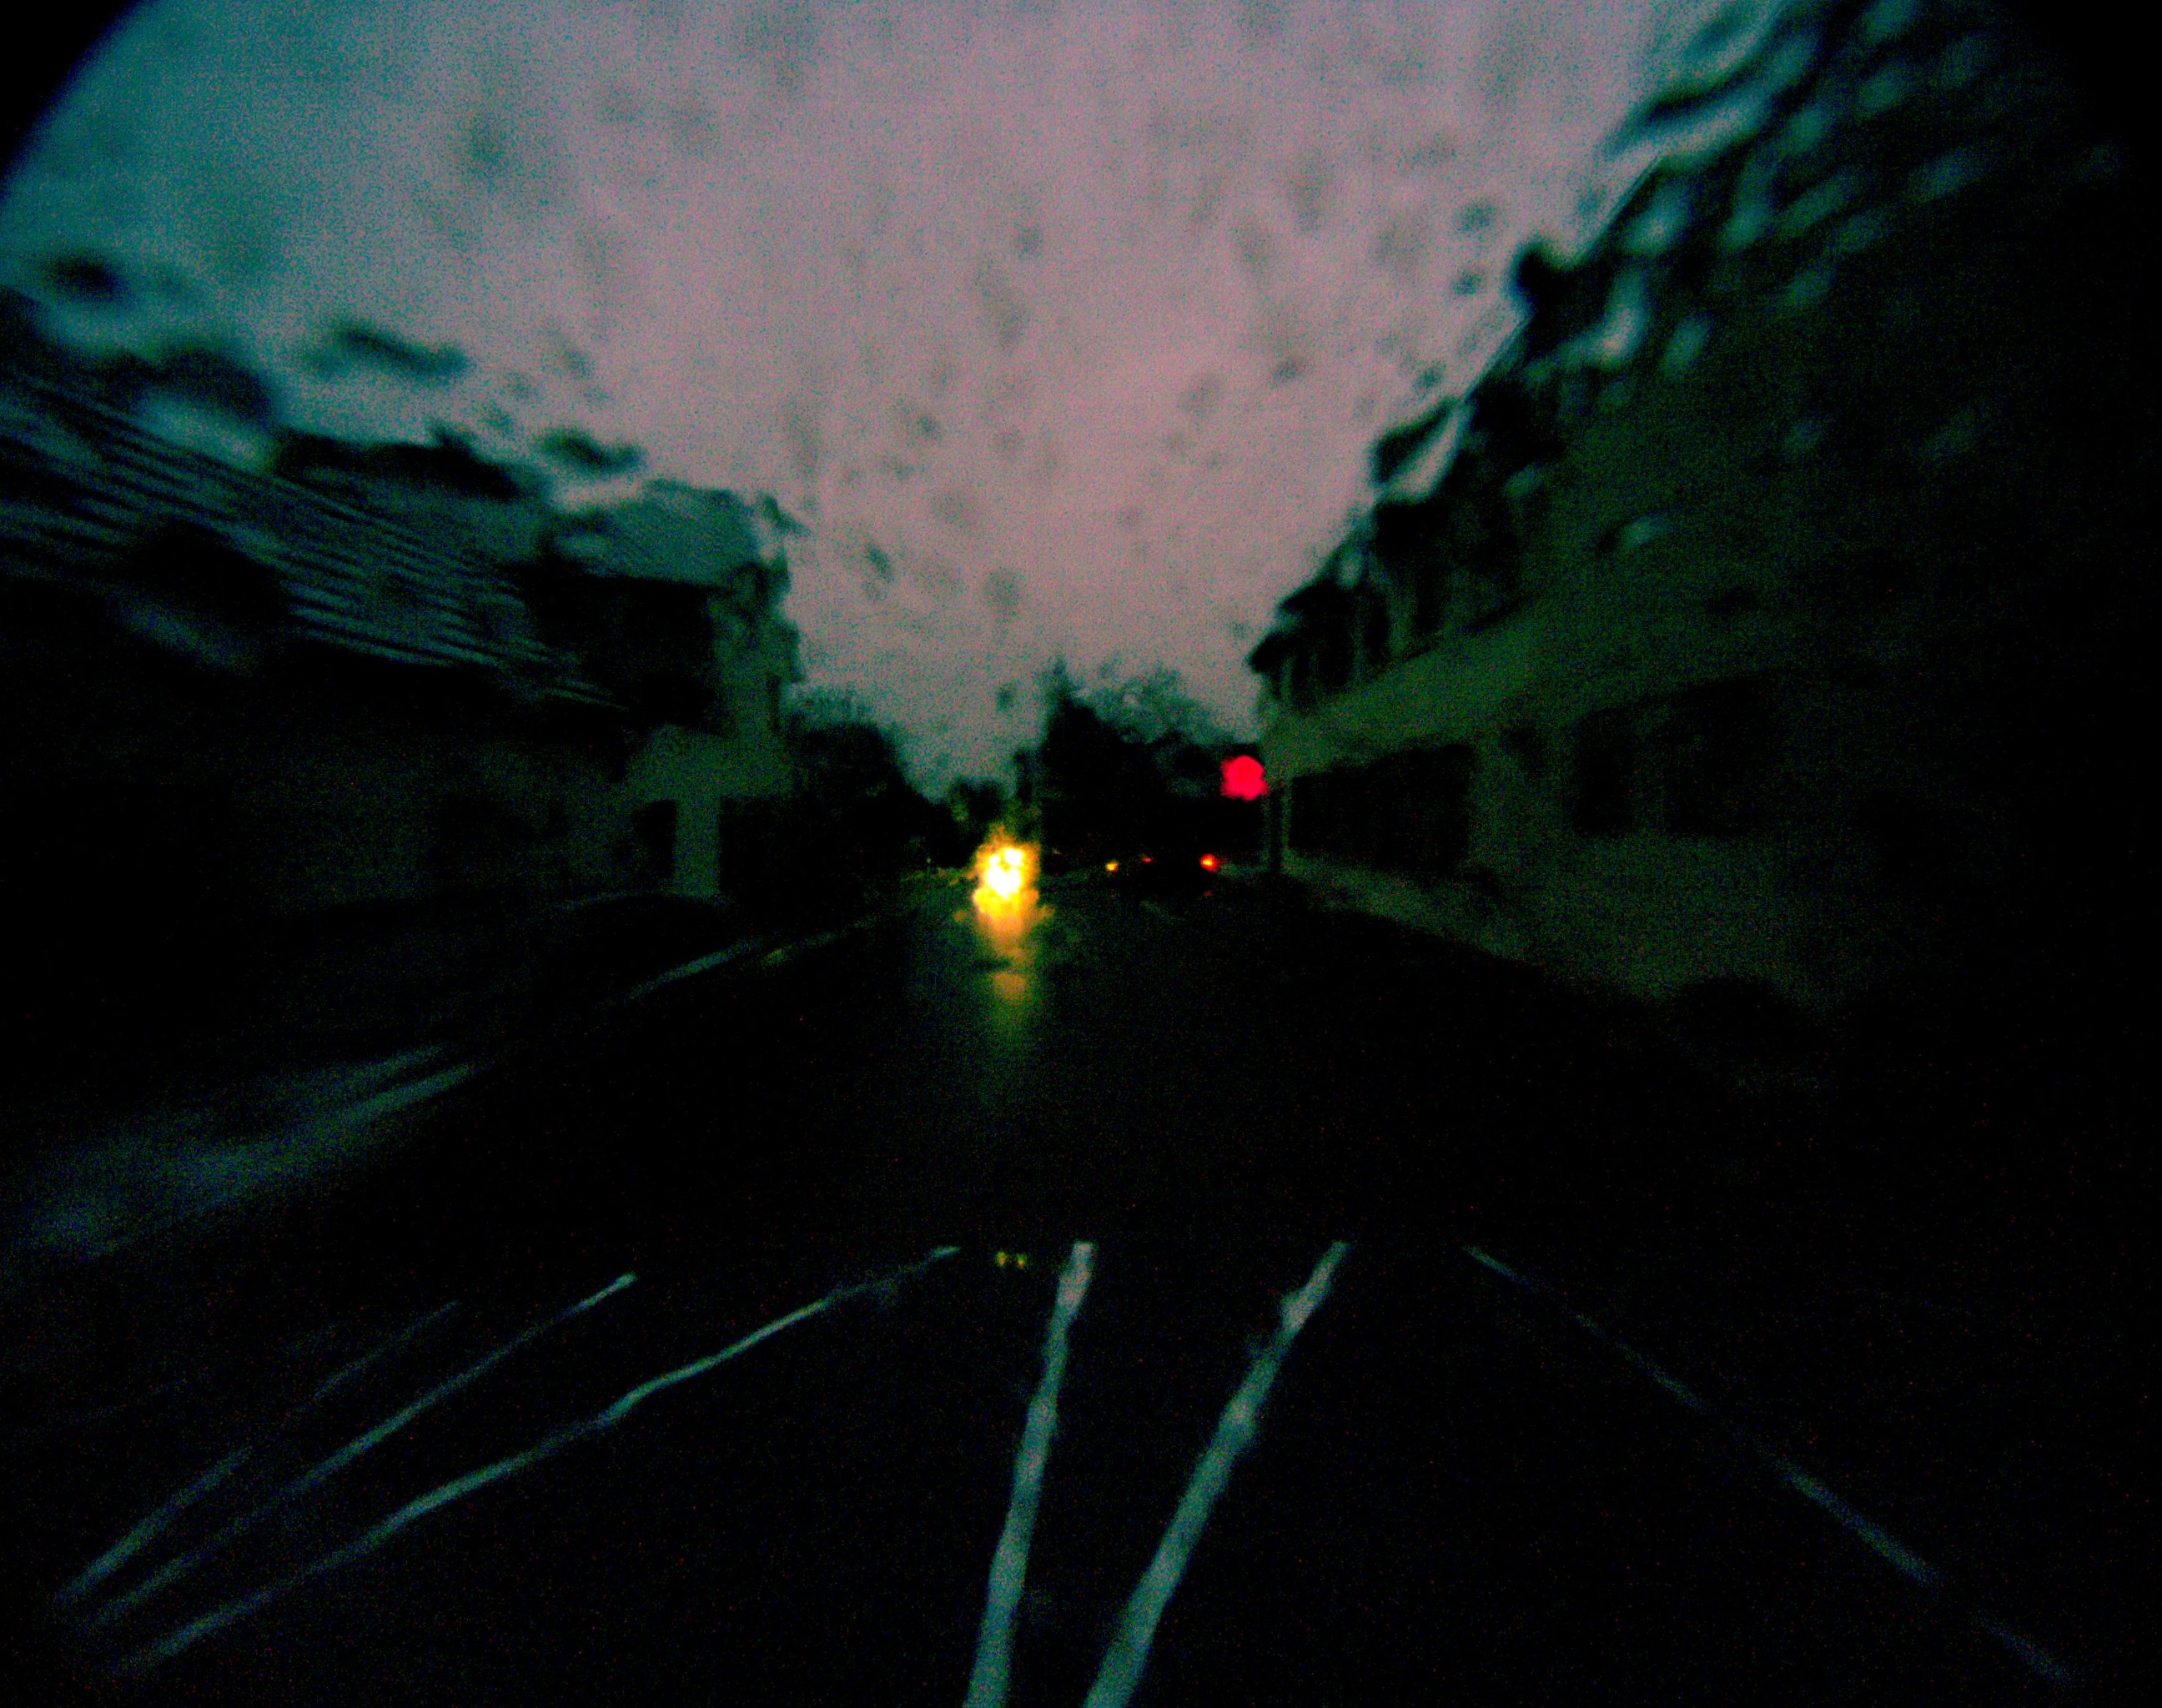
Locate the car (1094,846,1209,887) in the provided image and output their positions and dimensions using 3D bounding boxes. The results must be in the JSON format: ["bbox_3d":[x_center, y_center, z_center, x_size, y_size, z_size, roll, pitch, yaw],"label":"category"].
[{"bbox_3d":[2.976,0.496,32.488,4.481,1.570,1.998,-2,1,-9],"label":"car"}]

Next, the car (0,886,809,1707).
[{"bbox_3d":[-2.931,1.011,3.281,1.794,1.431,4.622,-2,1,0],"label":"car"}]

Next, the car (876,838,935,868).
[{"bbox_3d":[-12.492,-0.081,54.322,4.001,2.002,1.997,-2,1,-12],"label":"car"}]

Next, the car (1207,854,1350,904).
[{"bbox_3d":[6.307,0.747,24.696,2.003,1.417,4.226,-2,1,-33],"label":"car"}]

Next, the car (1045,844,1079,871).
[{"bbox_3d":[-1.270,0.204,50.042,1.999,1.619,3.998,-2,1,-4],"label":"car"}]

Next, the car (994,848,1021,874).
[{"bbox_3d":[-6.085,0.536,62.575,2.000,2.002,3.996,-2,1,-8],"label":"car"}]

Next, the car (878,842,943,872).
[{"bbox_3d":[-10.977,0.199,49.053,4.001,1.783,1.997,-2,1,-12],"label":"car"}]
